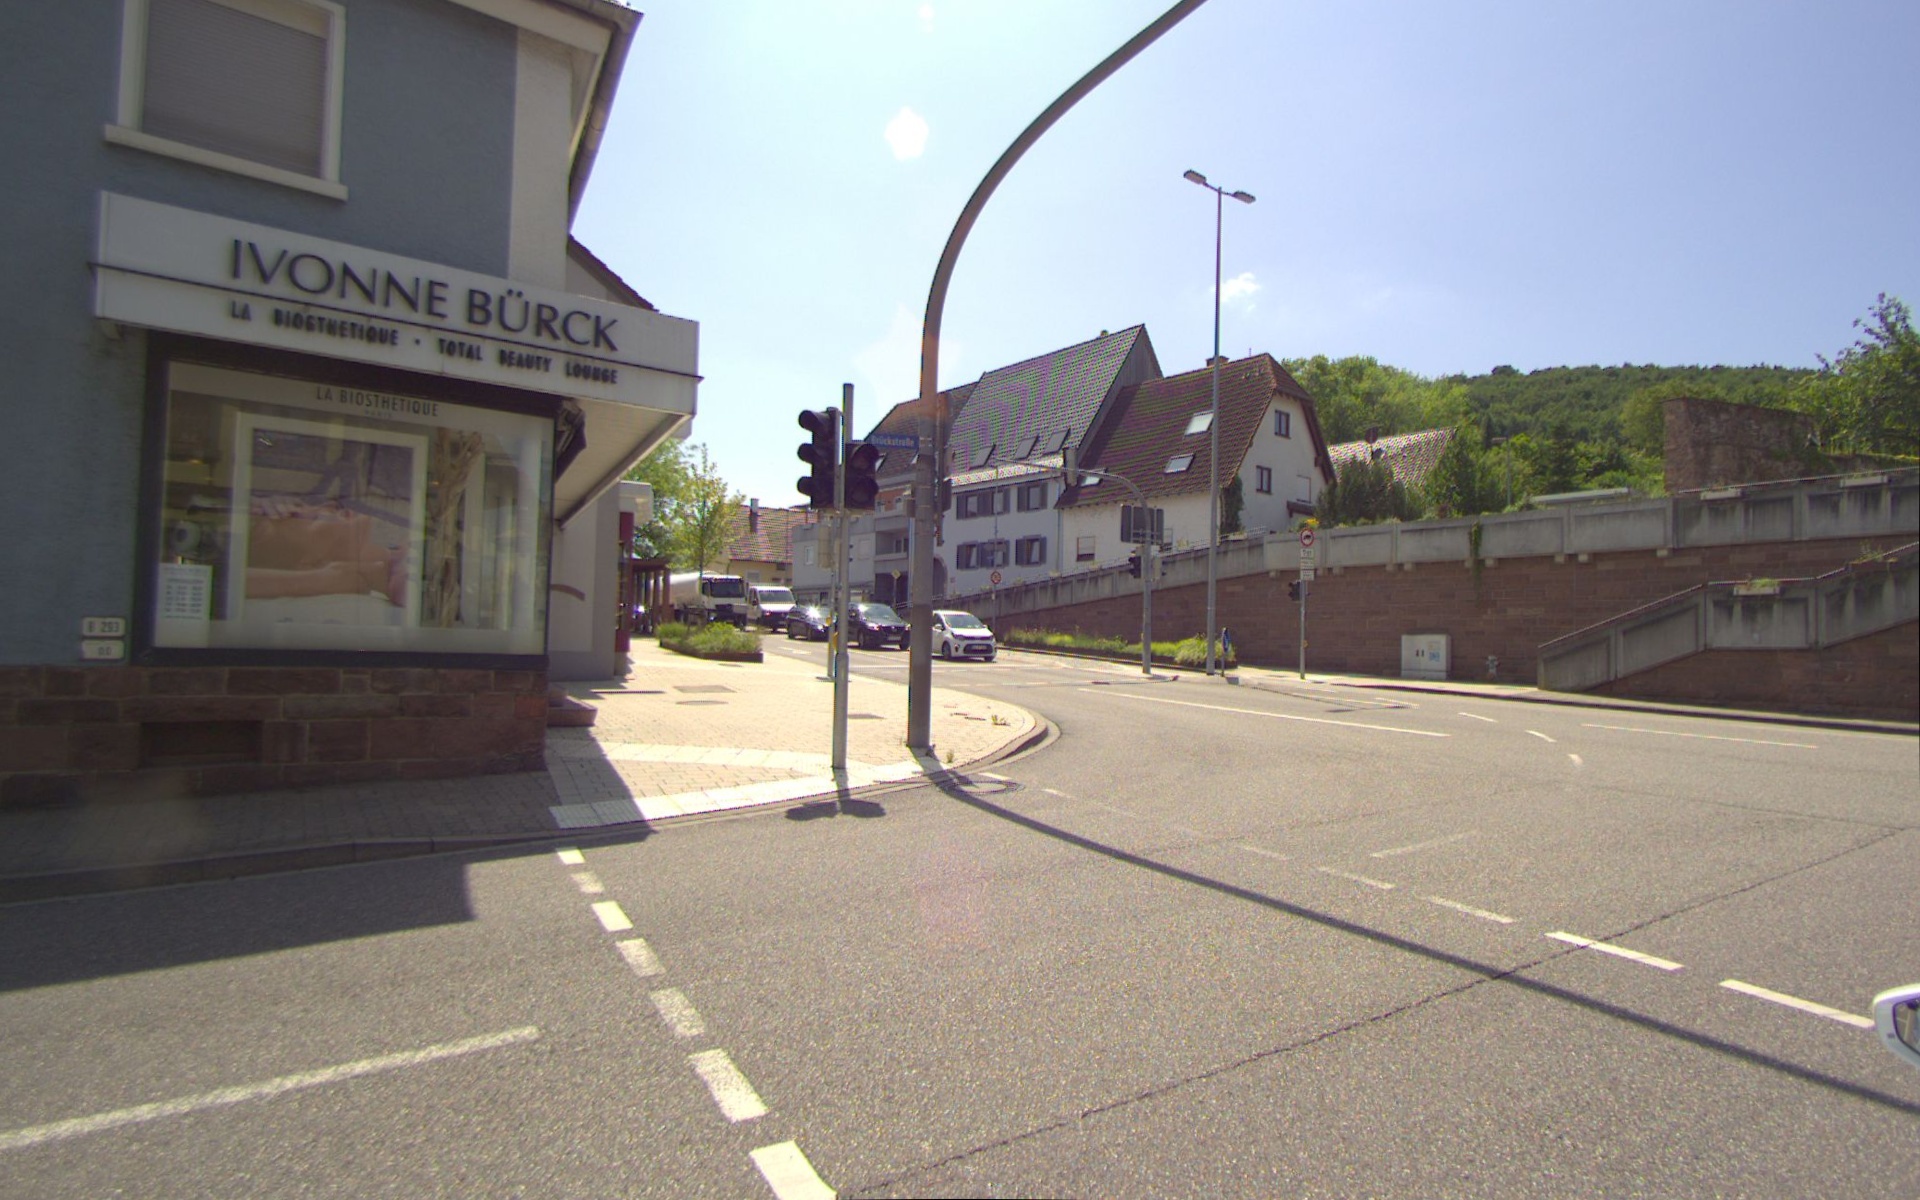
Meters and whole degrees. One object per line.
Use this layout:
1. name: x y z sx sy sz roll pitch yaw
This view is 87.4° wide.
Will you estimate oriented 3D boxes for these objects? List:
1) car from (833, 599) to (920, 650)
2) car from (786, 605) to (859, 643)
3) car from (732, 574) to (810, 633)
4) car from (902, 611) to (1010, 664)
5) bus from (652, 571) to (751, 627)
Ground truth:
1. car: -3.143 0.869 37.012 1.840 1.737 3.972 1 0 -27
2. car: -5.938 0.984 42.989 1.841 1.499 3.971 1 0 -28
3. car: -9.873 0.186 51.901 2.275 2.859 6.461 1 0 -27
4. car: -0.199 1.140 31.882 1.841 1.499 3.971 1 0 -28
5. bus: -16.457 -0.083 63.055 2.518 3.211 12.545 1 0 -31
